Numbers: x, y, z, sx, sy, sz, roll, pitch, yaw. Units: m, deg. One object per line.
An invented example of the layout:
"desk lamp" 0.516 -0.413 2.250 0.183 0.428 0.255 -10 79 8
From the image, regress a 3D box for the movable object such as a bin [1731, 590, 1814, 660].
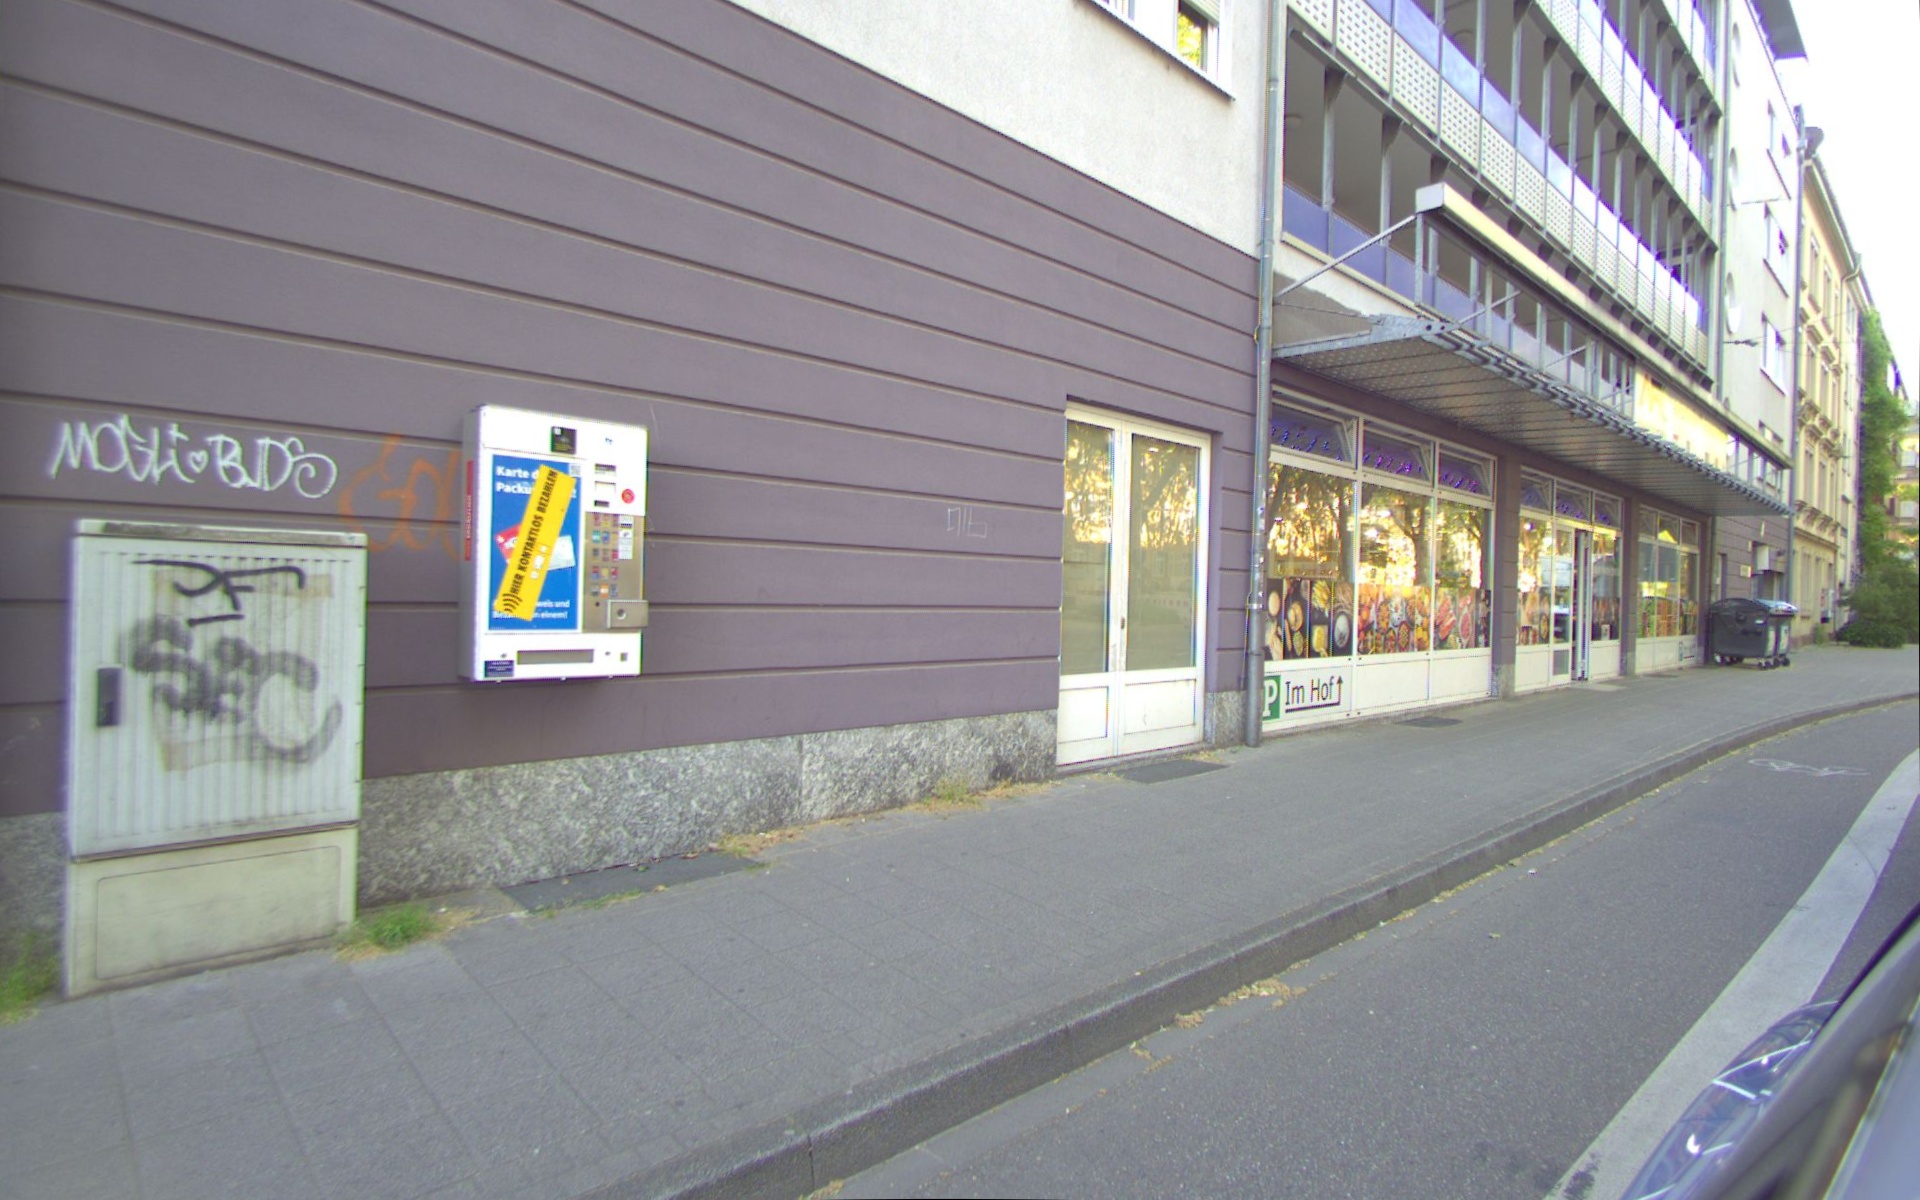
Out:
"movable object such as a bin" 17.788 0.521 22.165 1.282 1.464 1.123 1 1 -38

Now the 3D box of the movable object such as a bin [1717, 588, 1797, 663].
"movable object such as a bin" 16.439 0.501 20.877 1.274 1.465 1.068 1 1 -42
